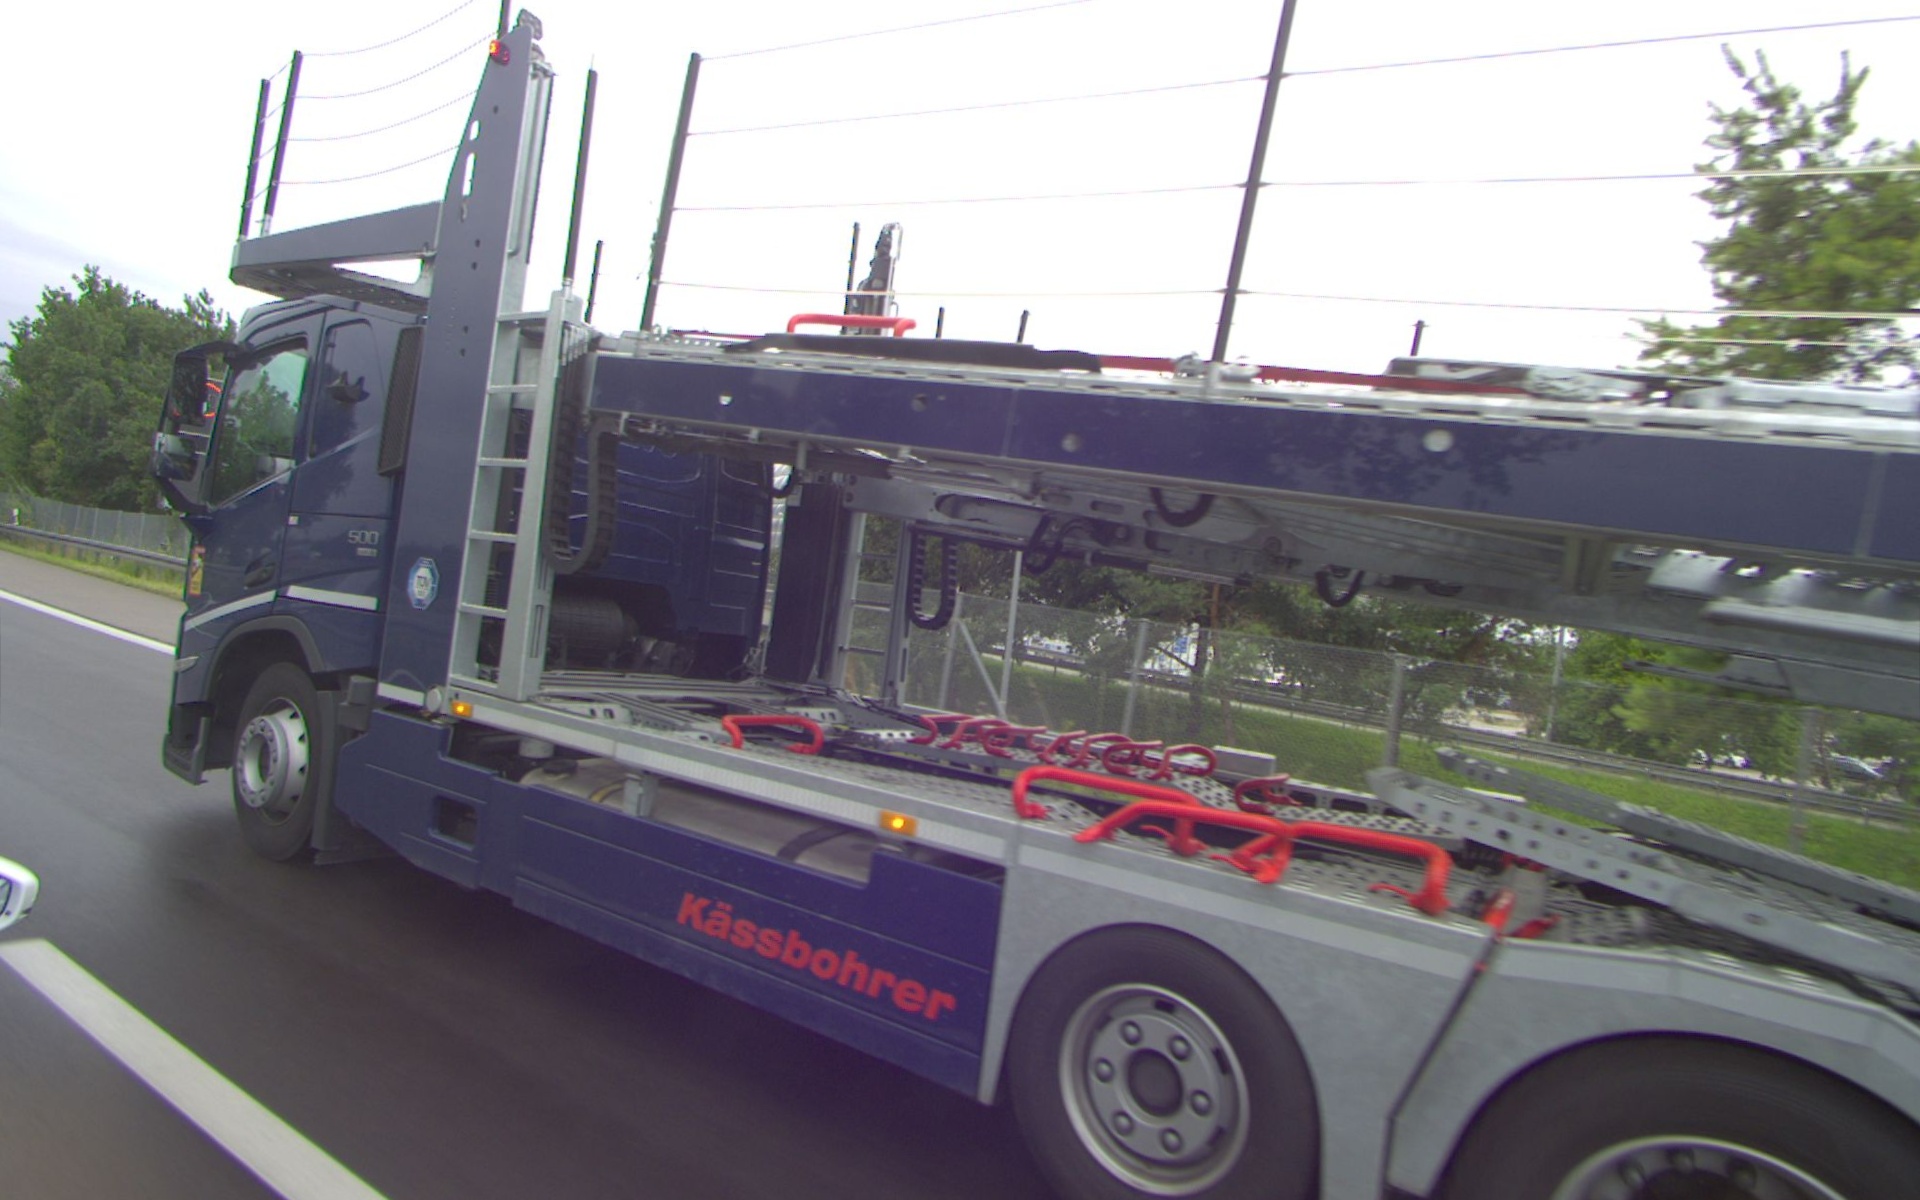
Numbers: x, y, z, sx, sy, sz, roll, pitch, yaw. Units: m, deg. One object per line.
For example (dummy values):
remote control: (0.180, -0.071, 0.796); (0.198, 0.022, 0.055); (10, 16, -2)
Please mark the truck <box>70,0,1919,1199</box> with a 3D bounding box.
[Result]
truck: (-0.023, -0.401, 4.237); (8.977, 4.012, 2.745); (6, -2, 32)
